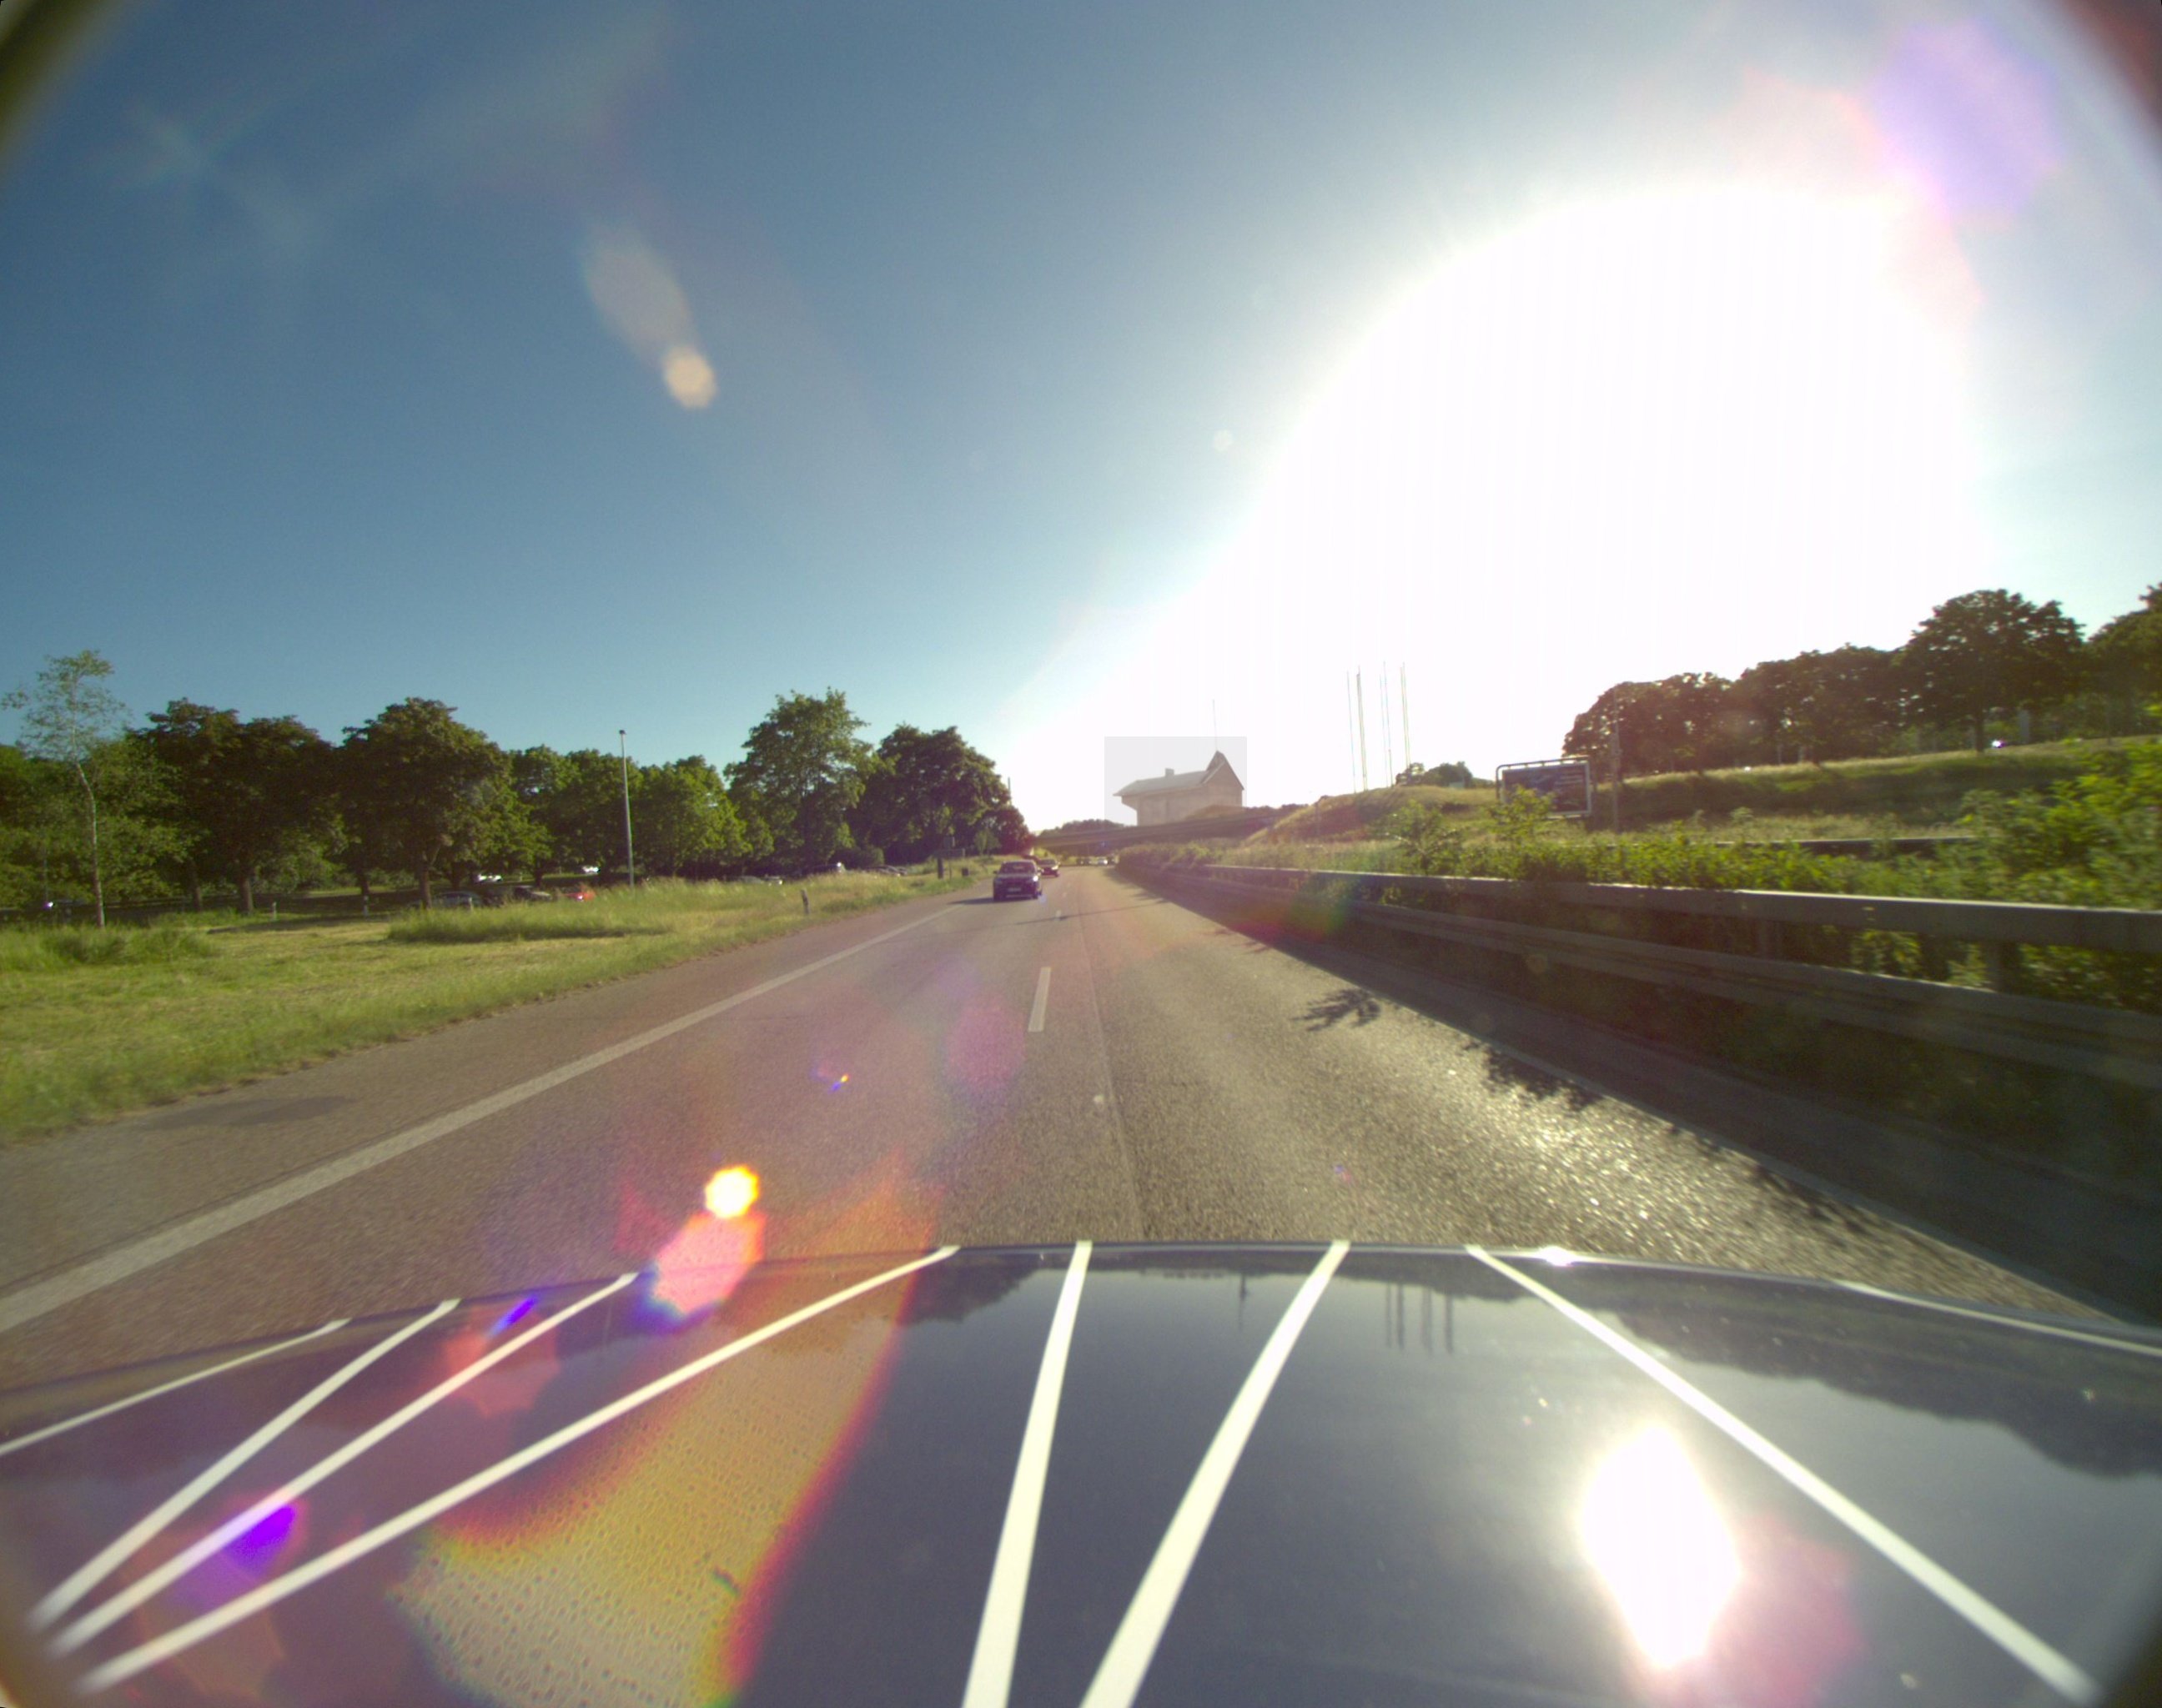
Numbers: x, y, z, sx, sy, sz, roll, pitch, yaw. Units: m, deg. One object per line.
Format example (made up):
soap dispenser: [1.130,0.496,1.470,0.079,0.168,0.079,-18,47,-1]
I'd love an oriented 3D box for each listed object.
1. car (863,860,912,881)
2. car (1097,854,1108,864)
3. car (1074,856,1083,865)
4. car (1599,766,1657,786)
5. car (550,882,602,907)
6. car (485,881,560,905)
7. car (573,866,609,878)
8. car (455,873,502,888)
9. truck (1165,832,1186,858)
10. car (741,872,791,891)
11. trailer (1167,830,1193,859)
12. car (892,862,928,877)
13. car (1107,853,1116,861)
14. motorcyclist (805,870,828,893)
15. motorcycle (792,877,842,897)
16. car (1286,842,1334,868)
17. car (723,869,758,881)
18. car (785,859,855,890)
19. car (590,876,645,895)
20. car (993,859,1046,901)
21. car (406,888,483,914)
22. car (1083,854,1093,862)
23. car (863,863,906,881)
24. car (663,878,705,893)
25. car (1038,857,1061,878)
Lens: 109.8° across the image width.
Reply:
car: [-21.617,1.817,84.997,4.801,2.012,2.025,-3,3,-1]
car: [3.411,0.787,121.349,1.725,1.412,3.670,-1,0,3]
car: [-0.547,1.354,161.797,1.867,1.681,4.000,-2,0,0]
car: [74.504,-10.593,103.568,2.551,2.002,6.087,-2,0,-16]
car: [-34.641,2.759,52.199,1.704,1.454,4.143,-4,1,-16]
car: [-50.751,3.556,69.114,5.204,1.855,1.957,-2,1,0]
car: [-69.795,2.562,108.273,1.907,1.567,4.003,-3,0,11]
car: [-71.004,3.130,89.667,1.907,1.567,4.003,-3,0,10]
truck: [15.277,-1.416,123.051,2.655,4.099,5.562,-3,0,1]
car: [-32.524,2.830,78.607,4.295,1.502,1.739,-5,2,-1]
trailer: [15.113,-1.437,116.864,2.655,4.099,10.700,-3,0,1]
car: [-20.907,1.863,92.916,3.942,1.452,1.923,-3,3,-1]
car: [6.083,0.616,153.278,1.682,1.412,3.670,-3,0,3]
motorcyclist: [-16.937,1.749,48.575,1.095,1.439,0.817,-3,1,-40]
motorcycle: [-16.872,2.109,48.629,2.841,1.063,0.817,-3,1,-41]
car: [14.523,0.055,48.443,1.846,1.552,4.000,-2,0,1]
car: [-48.732,2.990,108.779,4.121,1.416,1.865,-3,3,-1]
car: [-22.149,1.749,64.570,5.043,2.124,2.094,-5,1,8]
car: [-50.110,3.436,82.245,4.597,1.766,1.945,-2,2,-6]
car: [-2.438,1.016,31.202,1.703,1.497,4.579,-3,0,0]
car: [-48.449,3.580,57.942,4.232,1.551,1.784,-4,1,-31]
car: [1.269,0.698,139.518,1.682,1.412,3.670,-3,0,4]
car: [-21.259,1.928,82.174,4.017,1.492,1.960,-5,1,0]
car: [-49.392,3.890,94.611,4.121,1.416,1.865,-3,3,-1]
car: [-2.620,1.088,64.344,1.760,1.564,4.519,-1,1,0]
